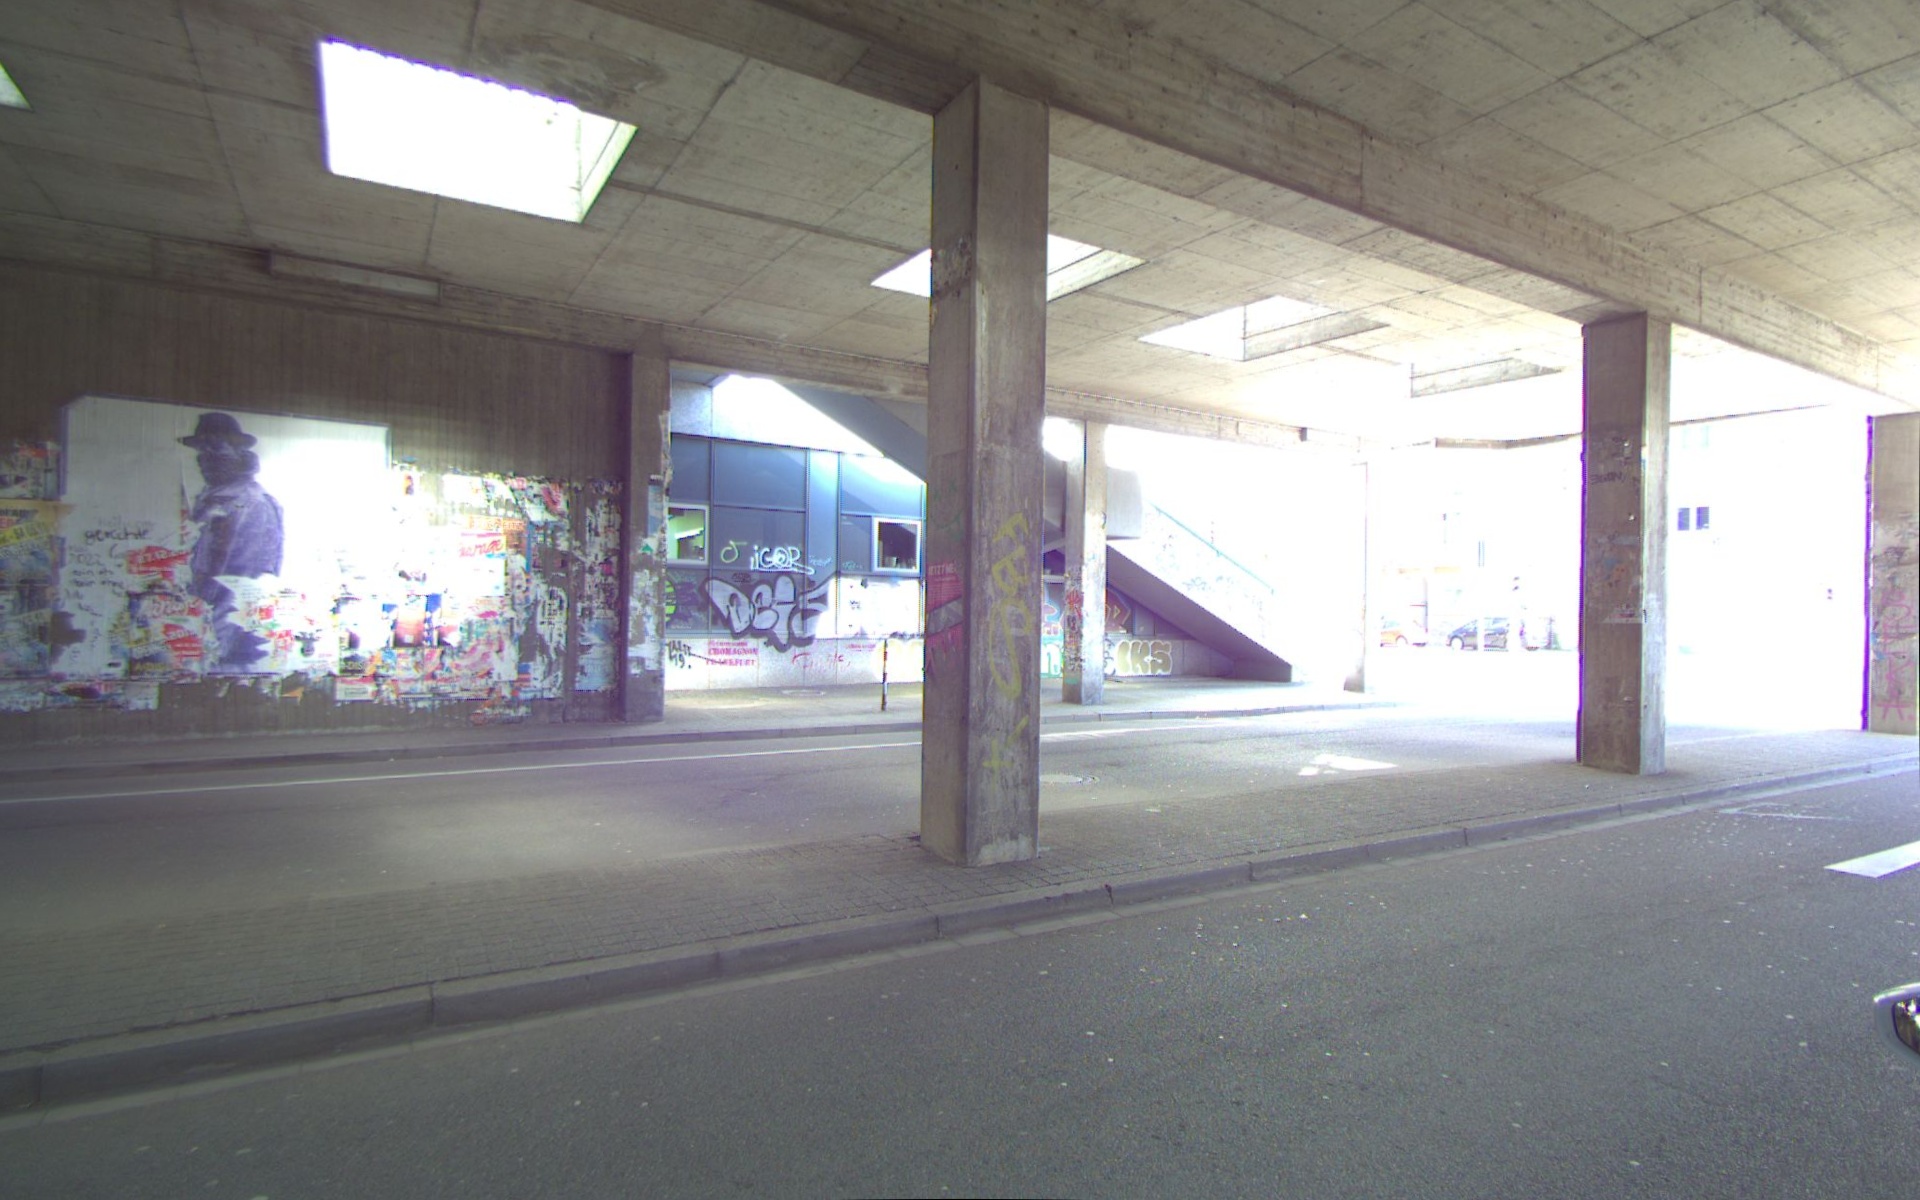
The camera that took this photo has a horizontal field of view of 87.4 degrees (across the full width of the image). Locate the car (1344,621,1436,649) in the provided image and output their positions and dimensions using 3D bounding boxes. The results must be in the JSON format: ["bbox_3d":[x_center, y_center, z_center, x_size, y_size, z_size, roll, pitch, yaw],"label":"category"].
[{"bbox_3d":[22.491,1.807,52.668,2.163,1.392,3.971,1,-1,-28],"label":"car"}]

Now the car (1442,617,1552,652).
[{"bbox_3d":[25.412,1.614,47.657,2.240,1.571,4.111,1,-1,-29],"label":"car"}]
